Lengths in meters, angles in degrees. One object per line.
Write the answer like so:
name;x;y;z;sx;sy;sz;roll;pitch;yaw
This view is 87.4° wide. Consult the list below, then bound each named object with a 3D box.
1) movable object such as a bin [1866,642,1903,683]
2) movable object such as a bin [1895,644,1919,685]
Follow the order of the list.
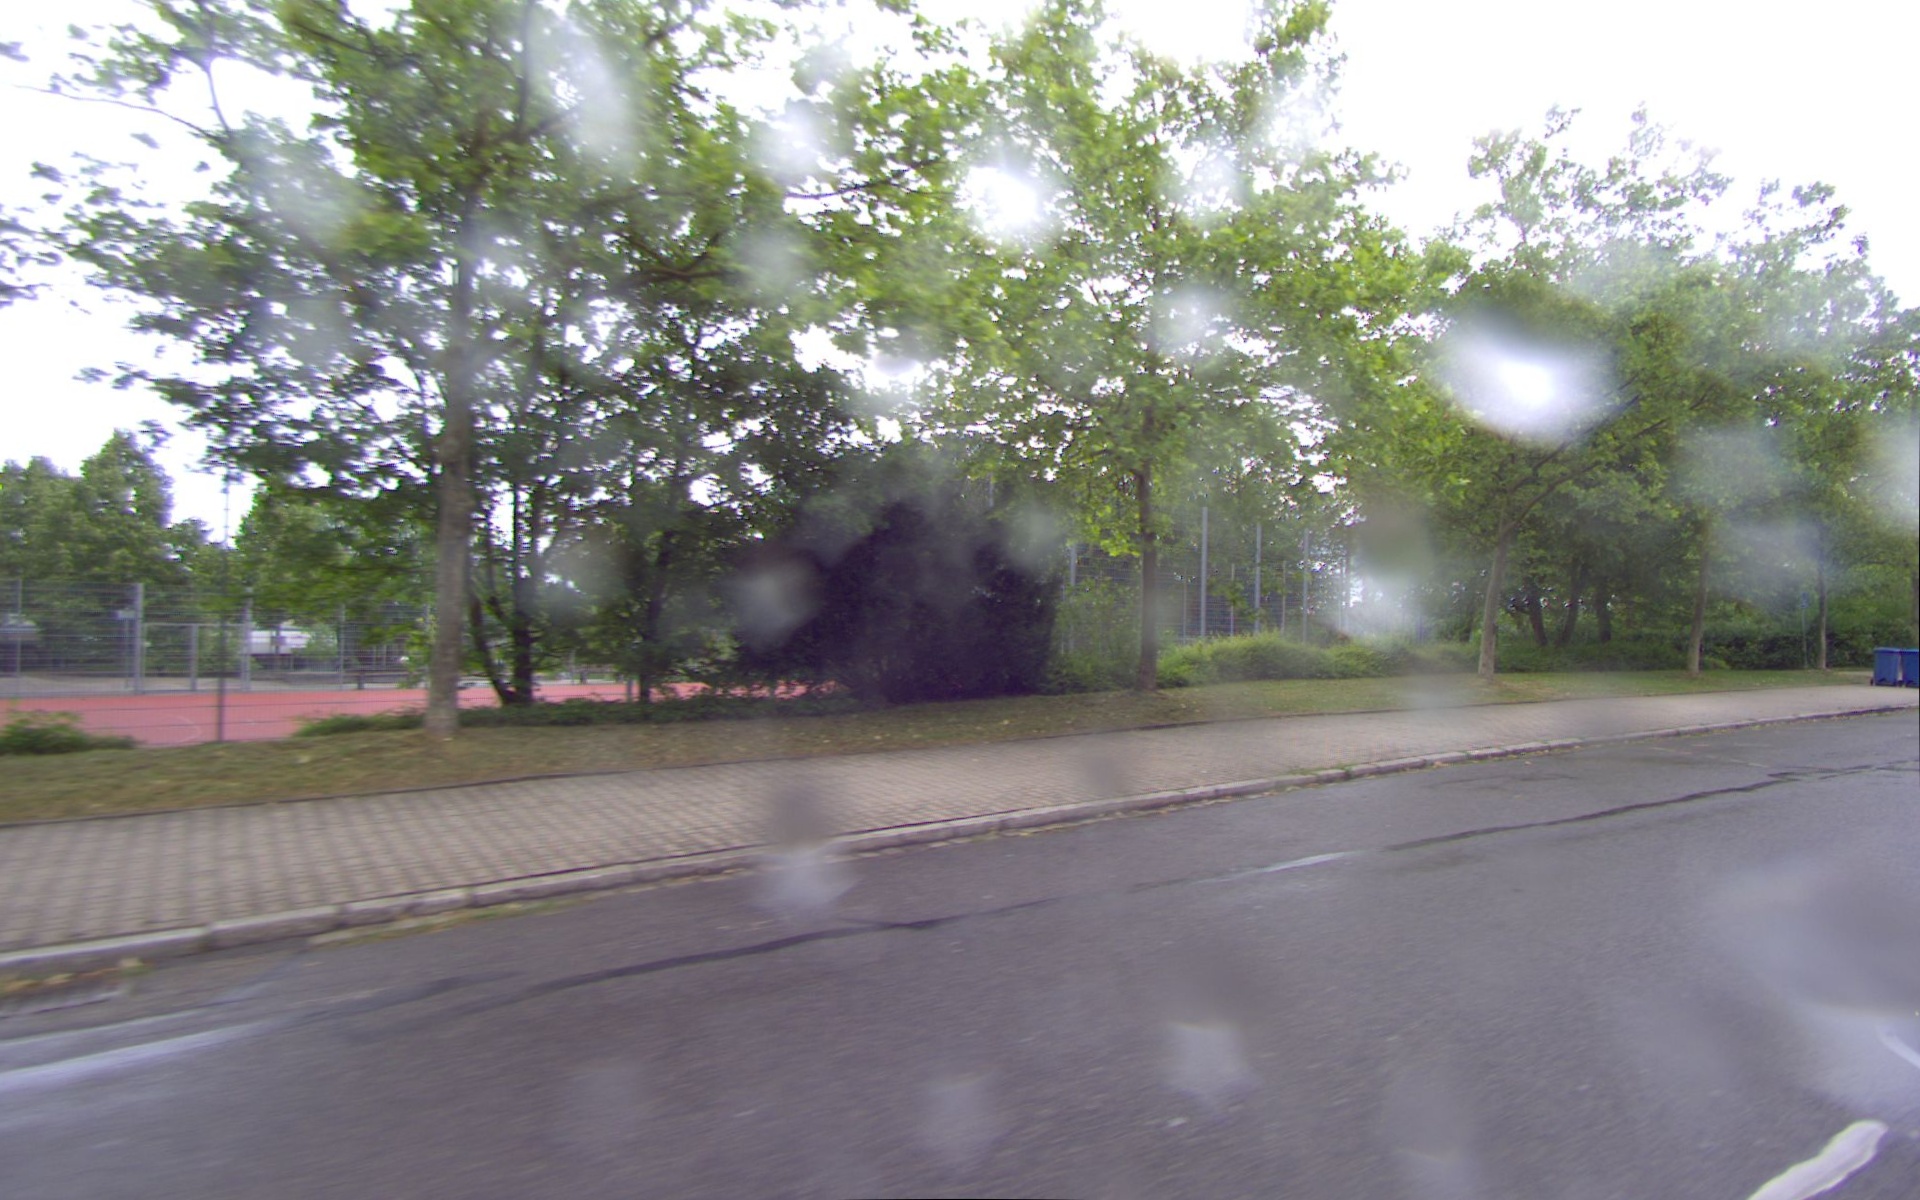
movable object such as a bin;26.374;1.773;28.666;0.664;1.113;0.564;1;1;-29
movable object such as a bin;26.816;1.812;28.232;0.664;1.113;0.564;1;1;-29
